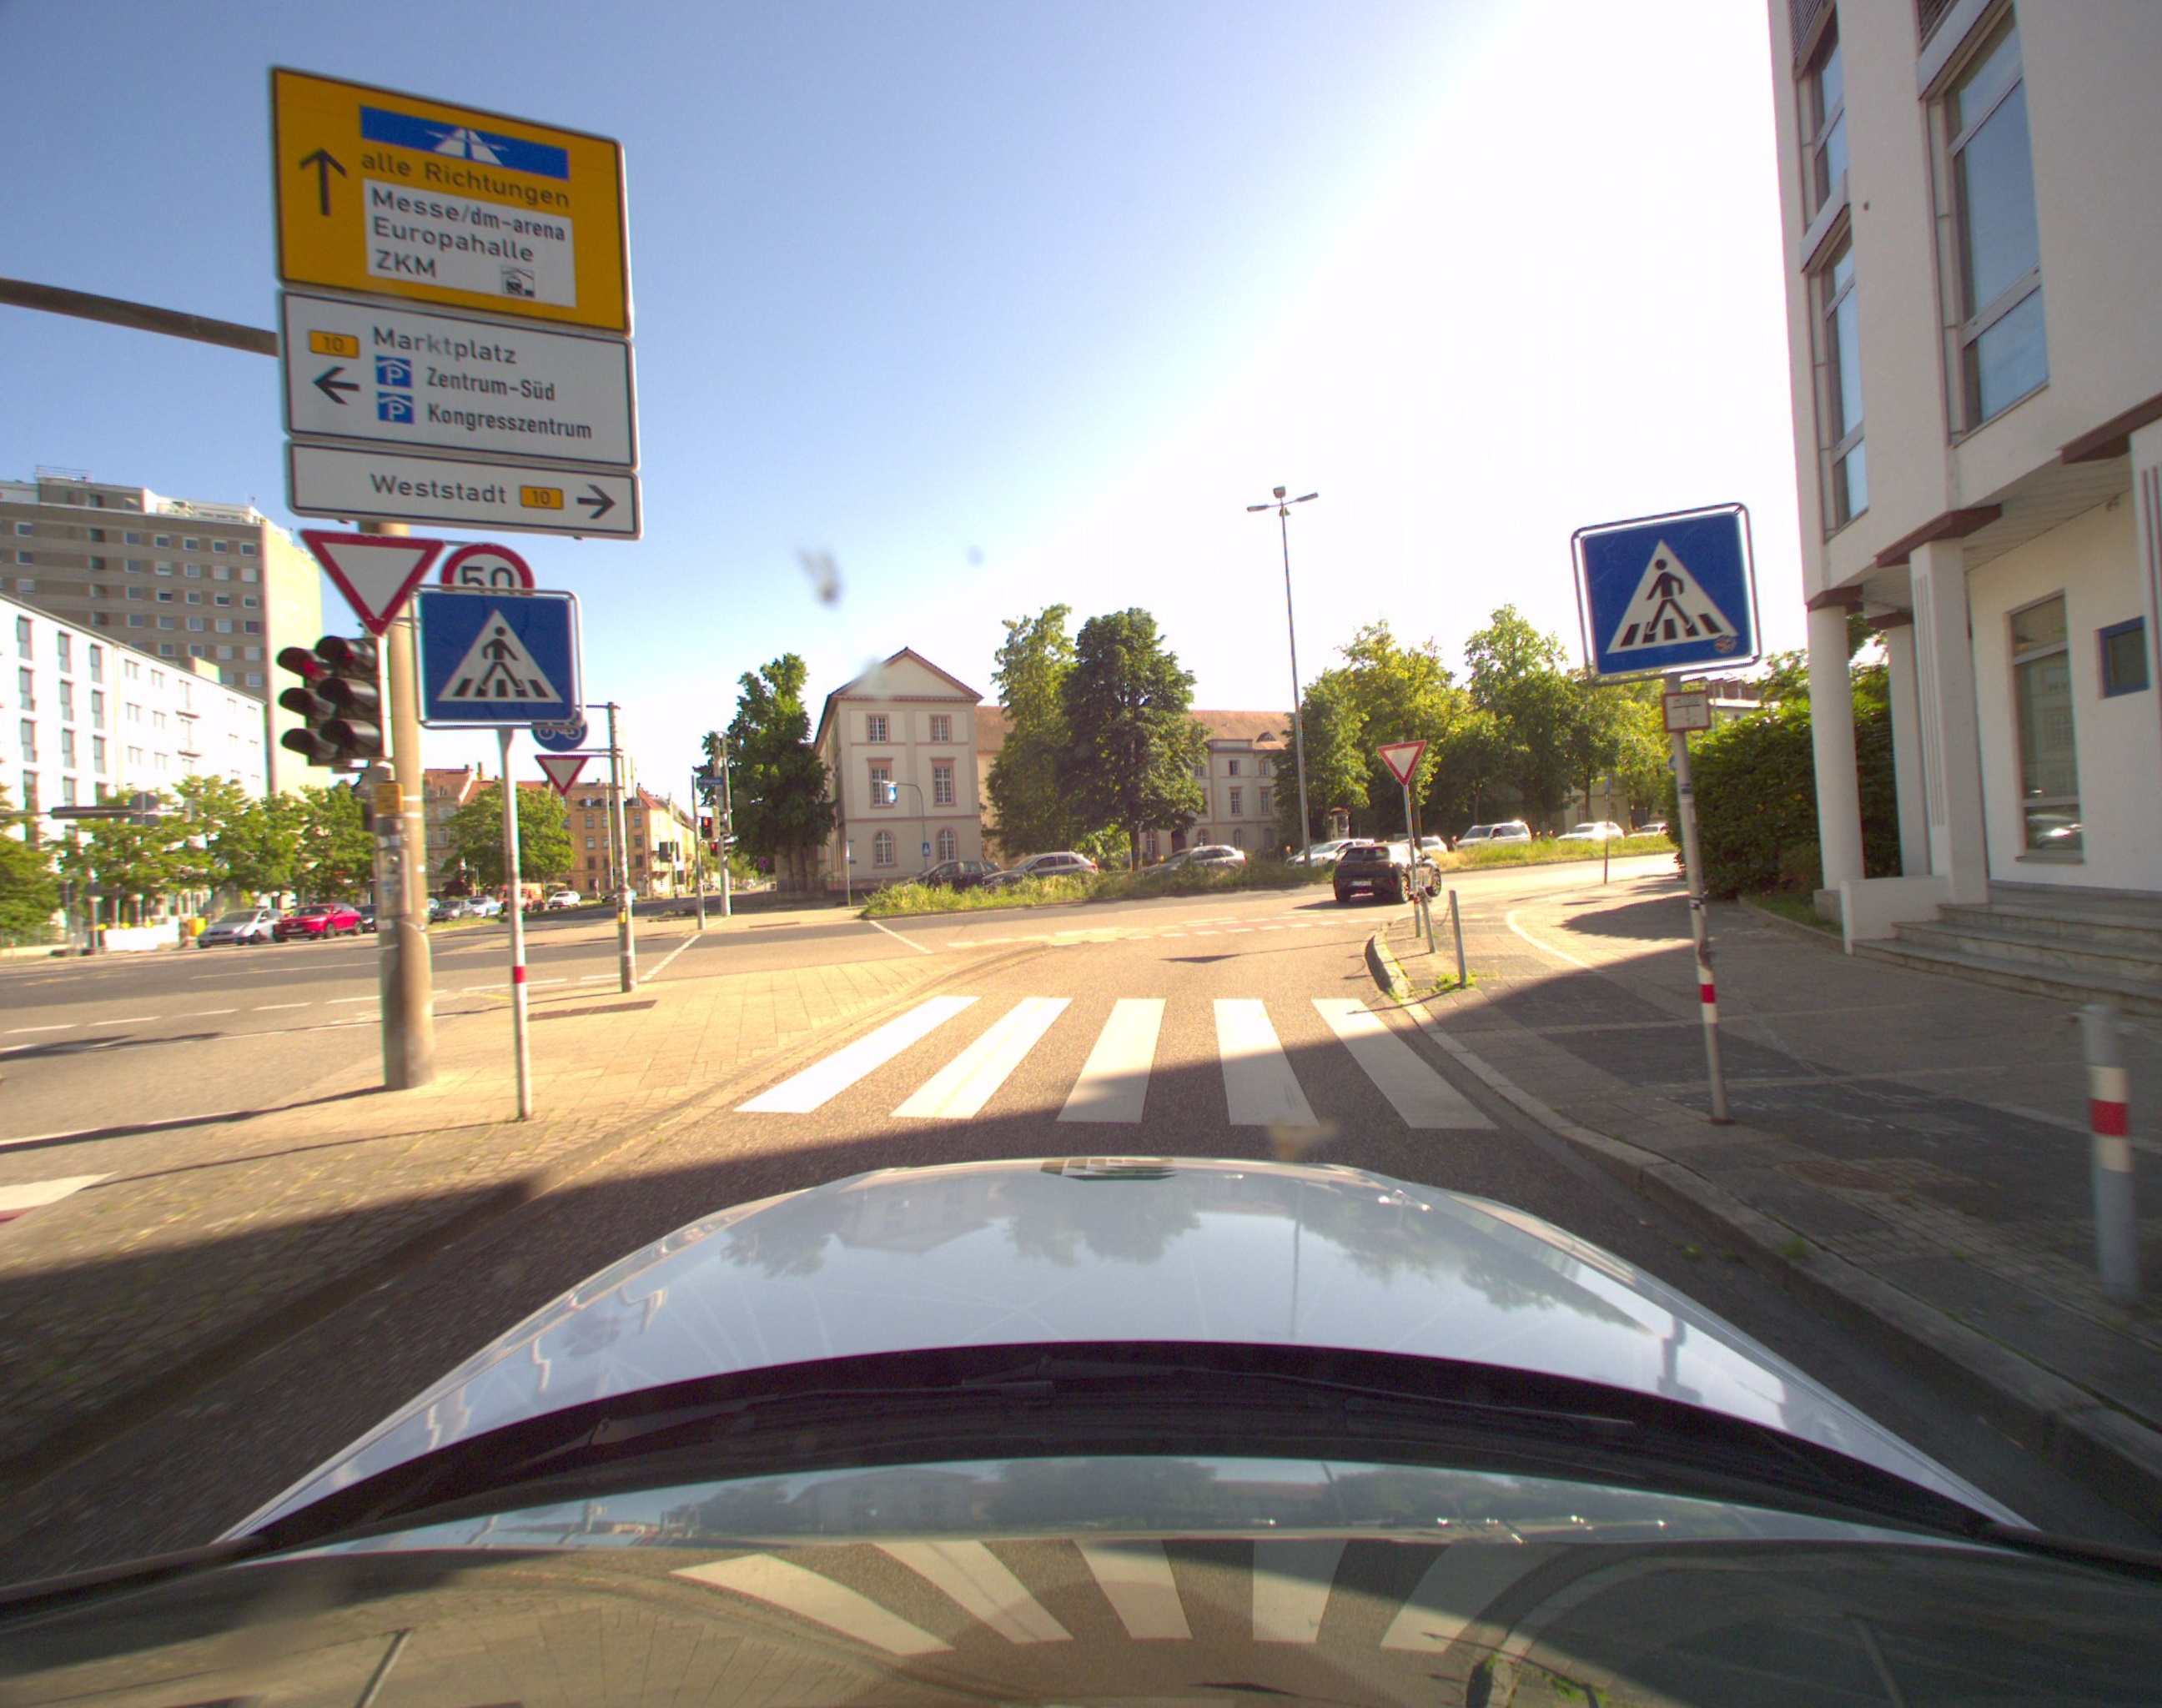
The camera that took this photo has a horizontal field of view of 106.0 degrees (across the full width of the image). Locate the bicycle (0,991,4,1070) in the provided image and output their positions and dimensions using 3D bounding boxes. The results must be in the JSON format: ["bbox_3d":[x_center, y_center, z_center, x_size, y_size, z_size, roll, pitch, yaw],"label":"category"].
[{"bbox_3d":[-10.270,1.435,6.468,1.899,0.990,0.863,-3,0,-15],"label":"bicycle"}]

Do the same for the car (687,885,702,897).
[{"bbox_3d":[-59.693,5.719,125.725,1.856,1.706,3.969,-3,0,-23],"label":"car"}]

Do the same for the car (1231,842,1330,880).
[{"bbox_3d":[9.215,0.299,37.627,4.358,1.519,1.785,-2,0,-29],"label":"car"}]

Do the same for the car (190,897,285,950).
[{"bbox_3d":[-37.185,2.998,36.035,2.007,2.014,3.959,0,-1,-32],"label":"car"}]

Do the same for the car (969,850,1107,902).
[{"bbox_3d":[-1.451,0.722,27.927,4.358,1.519,1.785,-2,0,-29],"label":"car"}]

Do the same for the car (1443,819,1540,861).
[{"bbox_3d":[22.747,-0.786,45.093,5.031,2.028,2.220,-3,0,-29],"label":"car"}]

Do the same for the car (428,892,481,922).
[{"bbox_3d":[-39.165,3.276,50.989,1.563,1.618,3.971,0,-1,-22],"label":"car"}]

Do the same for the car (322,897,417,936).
[{"bbox_3d":[-36.145,3.127,41.542,1.918,1.618,4.682,0,-1,-18],"label":"car"}]

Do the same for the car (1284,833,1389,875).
[{"bbox_3d":[10.847,-0.012,34.558,4.216,1.519,1.785,-3,0,-29],"label":"car"}]

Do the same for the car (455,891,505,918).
[{"bbox_3d":[-41.987,3.487,57.027,1.922,1.618,4.672,0,-1,-25],"label":"car"}]

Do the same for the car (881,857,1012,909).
[{"bbox_3d":[-4.892,1.011,29.735,4.289,1.585,1.846,-3,0,-29],"label":"car"}]

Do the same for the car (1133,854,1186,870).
[{"bbox_3d":[7.158,0.735,74.121,4.696,1.492,1.633,1,-1,-28],"label":"car"}]

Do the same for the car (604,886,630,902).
[{"bbox_3d":[-55.255,4.733,97.023,2.001,1.816,3.972,0,-1,-21],"label":"car"}]

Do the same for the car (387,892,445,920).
[{"bbox_3d":[-44.620,3.466,54.744,1.920,1.618,3.971,0,-1,-22],"label":"car"}]

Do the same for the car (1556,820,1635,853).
[{"bbox_3d":[31.267,-1.063,49.461,5.045,1.743,1.785,-3,-1,-29],"label":"car"}]

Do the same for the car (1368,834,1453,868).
[{"bbox_3d":[16.825,-0.147,41.536,4.090,1.519,1.785,-3,0,-29],"label":"car"}]

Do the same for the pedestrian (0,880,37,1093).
[{"bbox_3d":[-8.674,1.007,6.084,0.777,1.607,0.935,-1,-1,28],"label":"pedestrian"}]

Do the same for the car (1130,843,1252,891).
[{"bbox_3d":[4.236,0.466,31.283,4.375,1.519,1.785,-3,1,-29],"label":"car"}]

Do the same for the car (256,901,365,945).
[{"bbox_3d":[-33.692,2.971,35.777,1.918,1.618,3.975,0,-1,-18],"label":"car"}]

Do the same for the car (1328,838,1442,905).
[{"bbox_3d":[8.238,0.411,21.882,1.876,1.519,4.026,-1,2,35],"label":"car"}]

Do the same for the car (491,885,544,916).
[{"bbox_3d":[-45.785,3.750,66.335,1.918,2.231,5.863,0,-1,-18],"label":"car"}]

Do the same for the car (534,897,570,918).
[{"bbox_3d":[-51.695,5.192,79.682,1.918,1.814,4.680,0,-1,-19],"label":"car"}]
